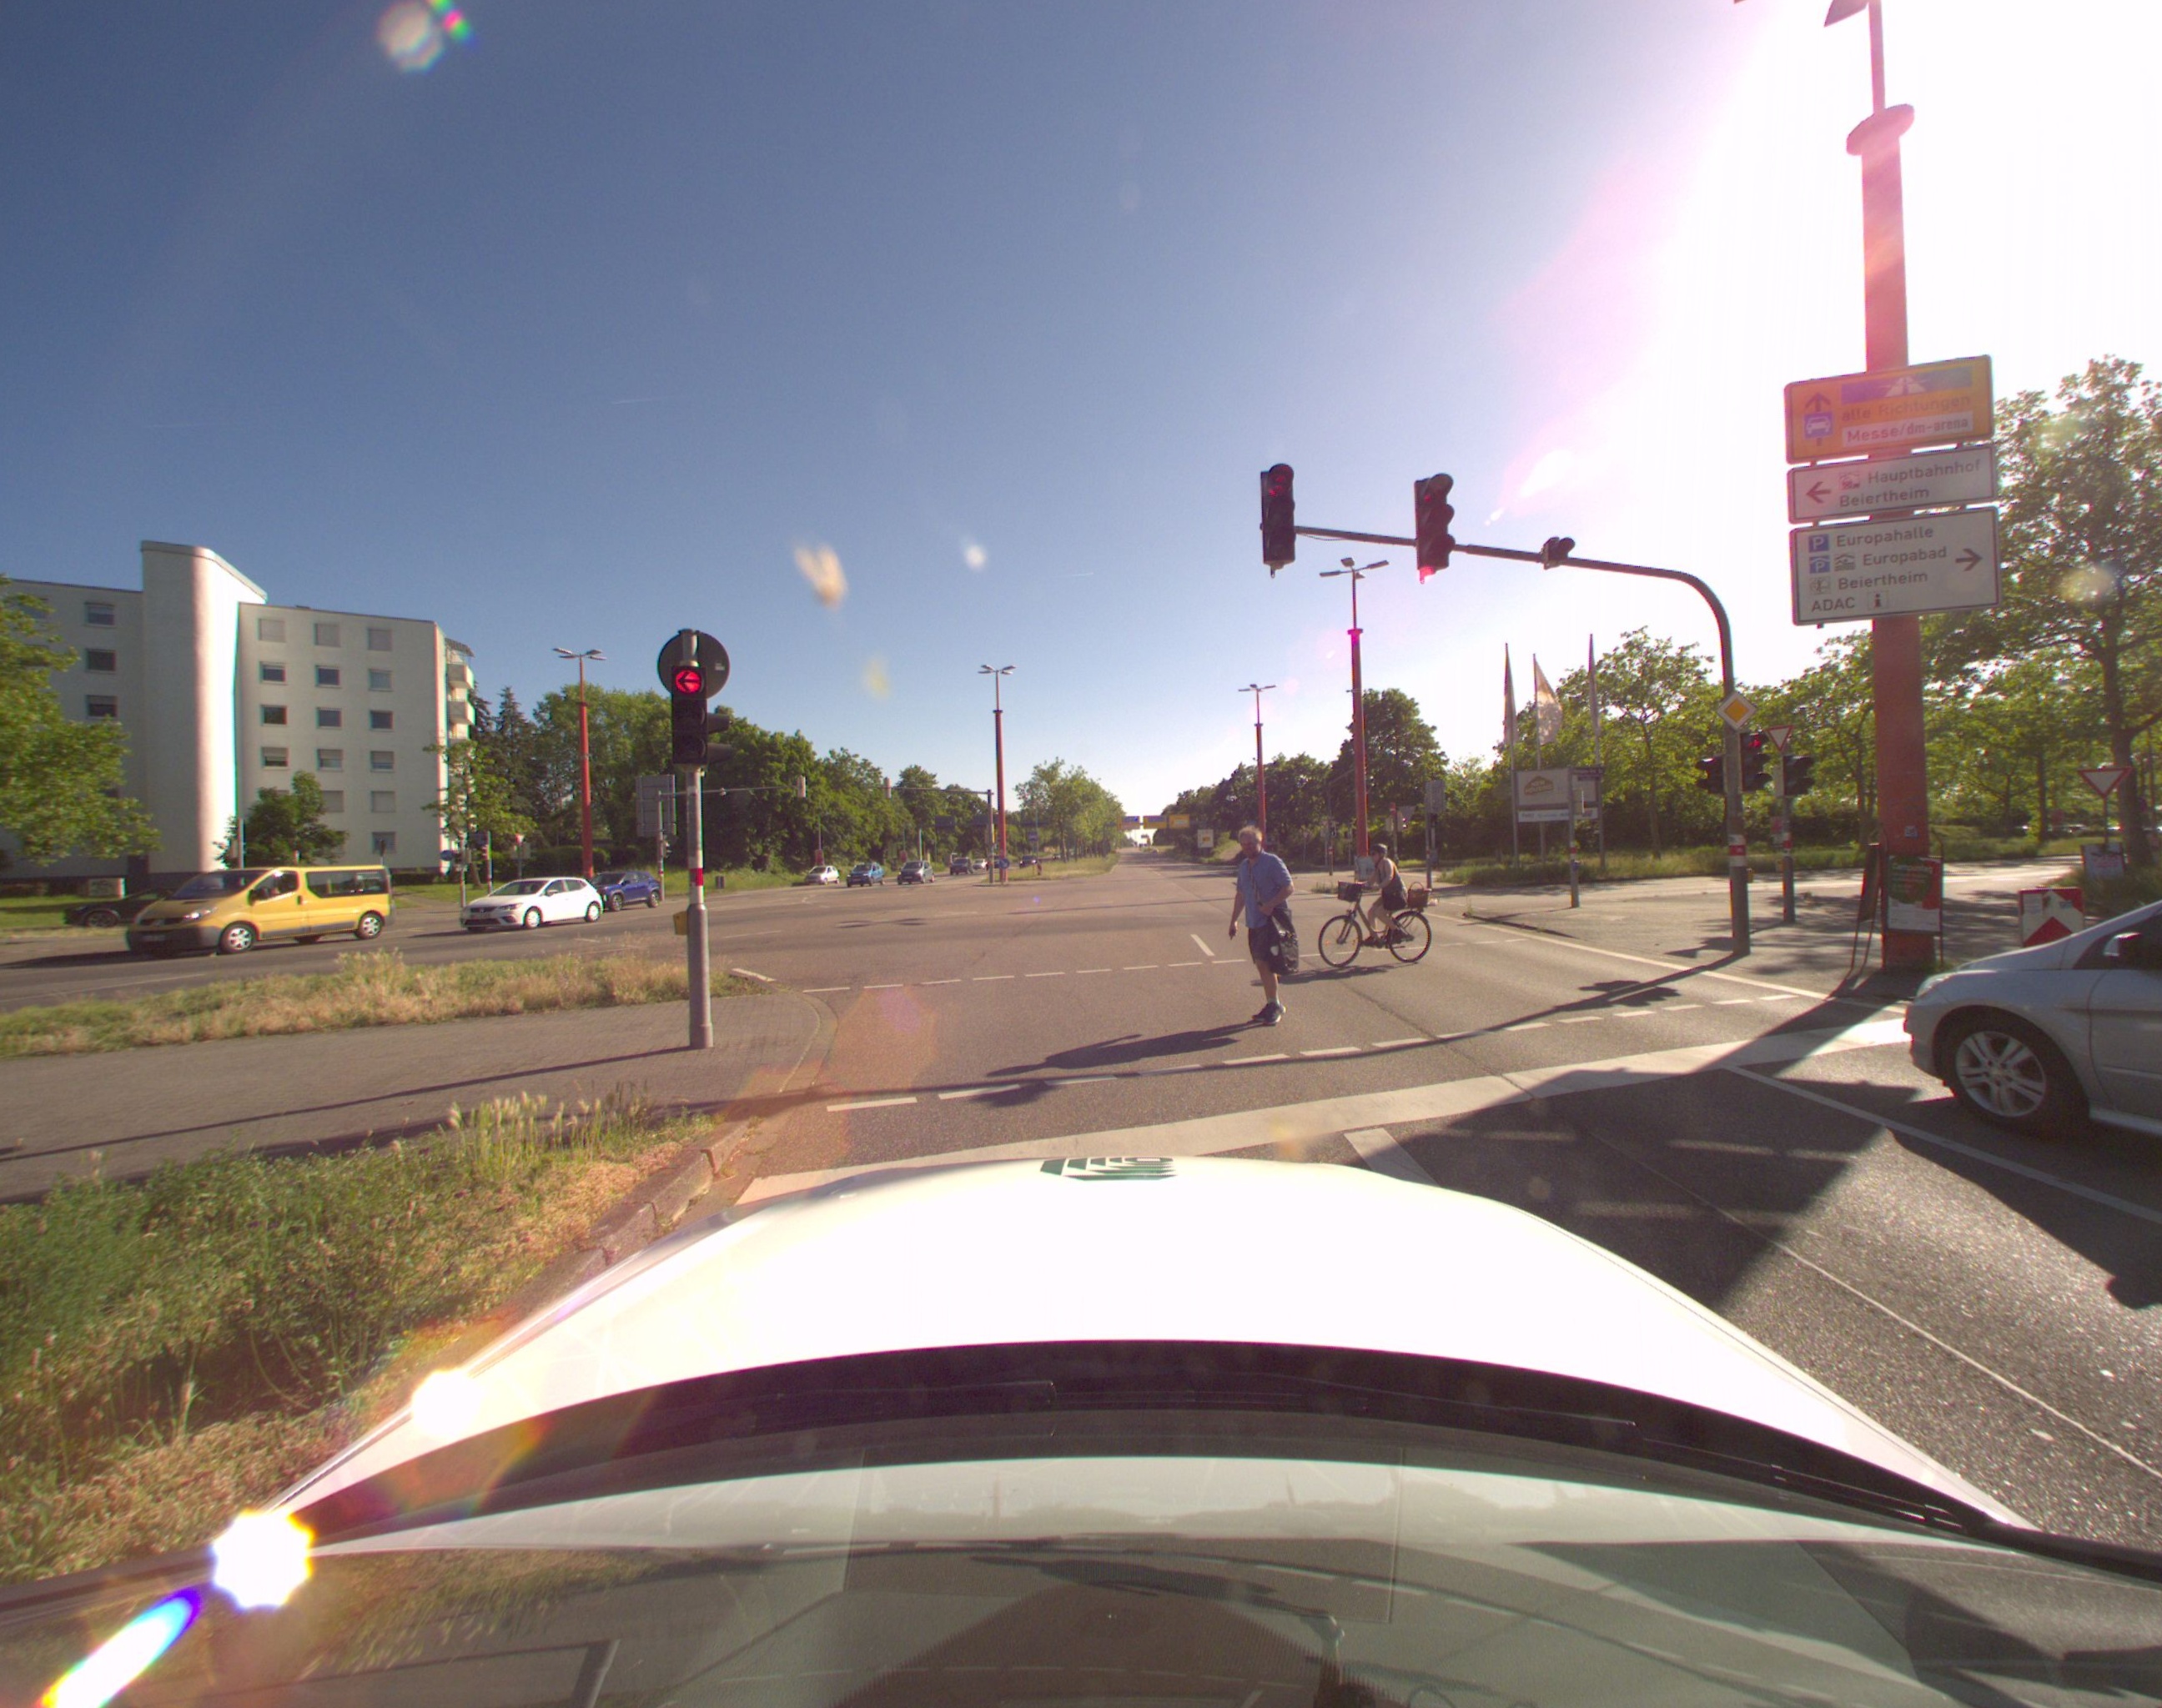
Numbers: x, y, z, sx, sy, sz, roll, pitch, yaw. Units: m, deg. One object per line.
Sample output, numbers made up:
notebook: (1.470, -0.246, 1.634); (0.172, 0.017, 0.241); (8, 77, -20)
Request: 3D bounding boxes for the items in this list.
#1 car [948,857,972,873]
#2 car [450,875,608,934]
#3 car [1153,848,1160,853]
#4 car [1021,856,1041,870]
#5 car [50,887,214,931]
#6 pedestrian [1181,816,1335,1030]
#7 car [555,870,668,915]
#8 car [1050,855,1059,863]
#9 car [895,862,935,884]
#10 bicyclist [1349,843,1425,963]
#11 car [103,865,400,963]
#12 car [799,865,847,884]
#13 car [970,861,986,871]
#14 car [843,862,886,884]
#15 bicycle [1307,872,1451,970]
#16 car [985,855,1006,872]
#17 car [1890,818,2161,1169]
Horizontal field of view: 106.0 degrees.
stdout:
car: (-12.242, 1.094, 82.650); (1.733, 1.612, 3.613); (-2, 0, 1)
car: (-15.728, 1.386, 23.494); (1.682, 1.407, 4.023); (-2, 0, 2)
car: (22.746, -0.999, 246.400); (1.787, 1.409, 4.001); (0, -1, 2)
car: (-5.490, 0.964, 89.680); (1.812, 1.508, 4.002); (-2, 0, 2)
car: (-36.436, 2.062, 31.382); (1.777, 1.409, 4.025); (-2, 0, 40)
pedestrian: (1.604, 0.578, 7.487); (0.988, 1.794, 0.948); (-1, 0, -20)
car: (-18.602, 1.468, 32.512); (1.986, 1.574, 4.108); (-1, 0, 2)
car: (-6.117, 1.154, 189.636); (1.791, 1.640, 4.000); (-2, 0, 1)
car: (-10.604, 1.190, 52.304); (1.733, 1.243, 3.613); (-2, 0, 1)
bicyclist: (4.234, 0.652, 11.294); (0.664, 1.584, 0.667); (-2, 0, -26)
car: (-19.608, 1.302, 19.689); (1.986, 1.966, 4.910); (-2, 0, 2)
car: (-20.714, 1.615, 65.544); (1.738, 1.398, 4.015); (-2, 0, 14)
car: (-14.063, 1.670, 111.249); (1.733, 1.243, 3.613); (-2, 0, 1)
car: (-13.944, 1.210, 52.679); (1.733, 1.243, 3.613); (-2, 0, 1)
bicycle: (4.124, 0.876, 11.235); (1.952, 1.195, 0.686); (-2, 0, -26)
car: (-10.740, 1.187, 102.477); (1.886, 2.026, 5.224); (-2, 0, 1)
car: (5.667, 0.602, 2.859); (1.732, 1.578, 4.032); (-2, 0, 3)
